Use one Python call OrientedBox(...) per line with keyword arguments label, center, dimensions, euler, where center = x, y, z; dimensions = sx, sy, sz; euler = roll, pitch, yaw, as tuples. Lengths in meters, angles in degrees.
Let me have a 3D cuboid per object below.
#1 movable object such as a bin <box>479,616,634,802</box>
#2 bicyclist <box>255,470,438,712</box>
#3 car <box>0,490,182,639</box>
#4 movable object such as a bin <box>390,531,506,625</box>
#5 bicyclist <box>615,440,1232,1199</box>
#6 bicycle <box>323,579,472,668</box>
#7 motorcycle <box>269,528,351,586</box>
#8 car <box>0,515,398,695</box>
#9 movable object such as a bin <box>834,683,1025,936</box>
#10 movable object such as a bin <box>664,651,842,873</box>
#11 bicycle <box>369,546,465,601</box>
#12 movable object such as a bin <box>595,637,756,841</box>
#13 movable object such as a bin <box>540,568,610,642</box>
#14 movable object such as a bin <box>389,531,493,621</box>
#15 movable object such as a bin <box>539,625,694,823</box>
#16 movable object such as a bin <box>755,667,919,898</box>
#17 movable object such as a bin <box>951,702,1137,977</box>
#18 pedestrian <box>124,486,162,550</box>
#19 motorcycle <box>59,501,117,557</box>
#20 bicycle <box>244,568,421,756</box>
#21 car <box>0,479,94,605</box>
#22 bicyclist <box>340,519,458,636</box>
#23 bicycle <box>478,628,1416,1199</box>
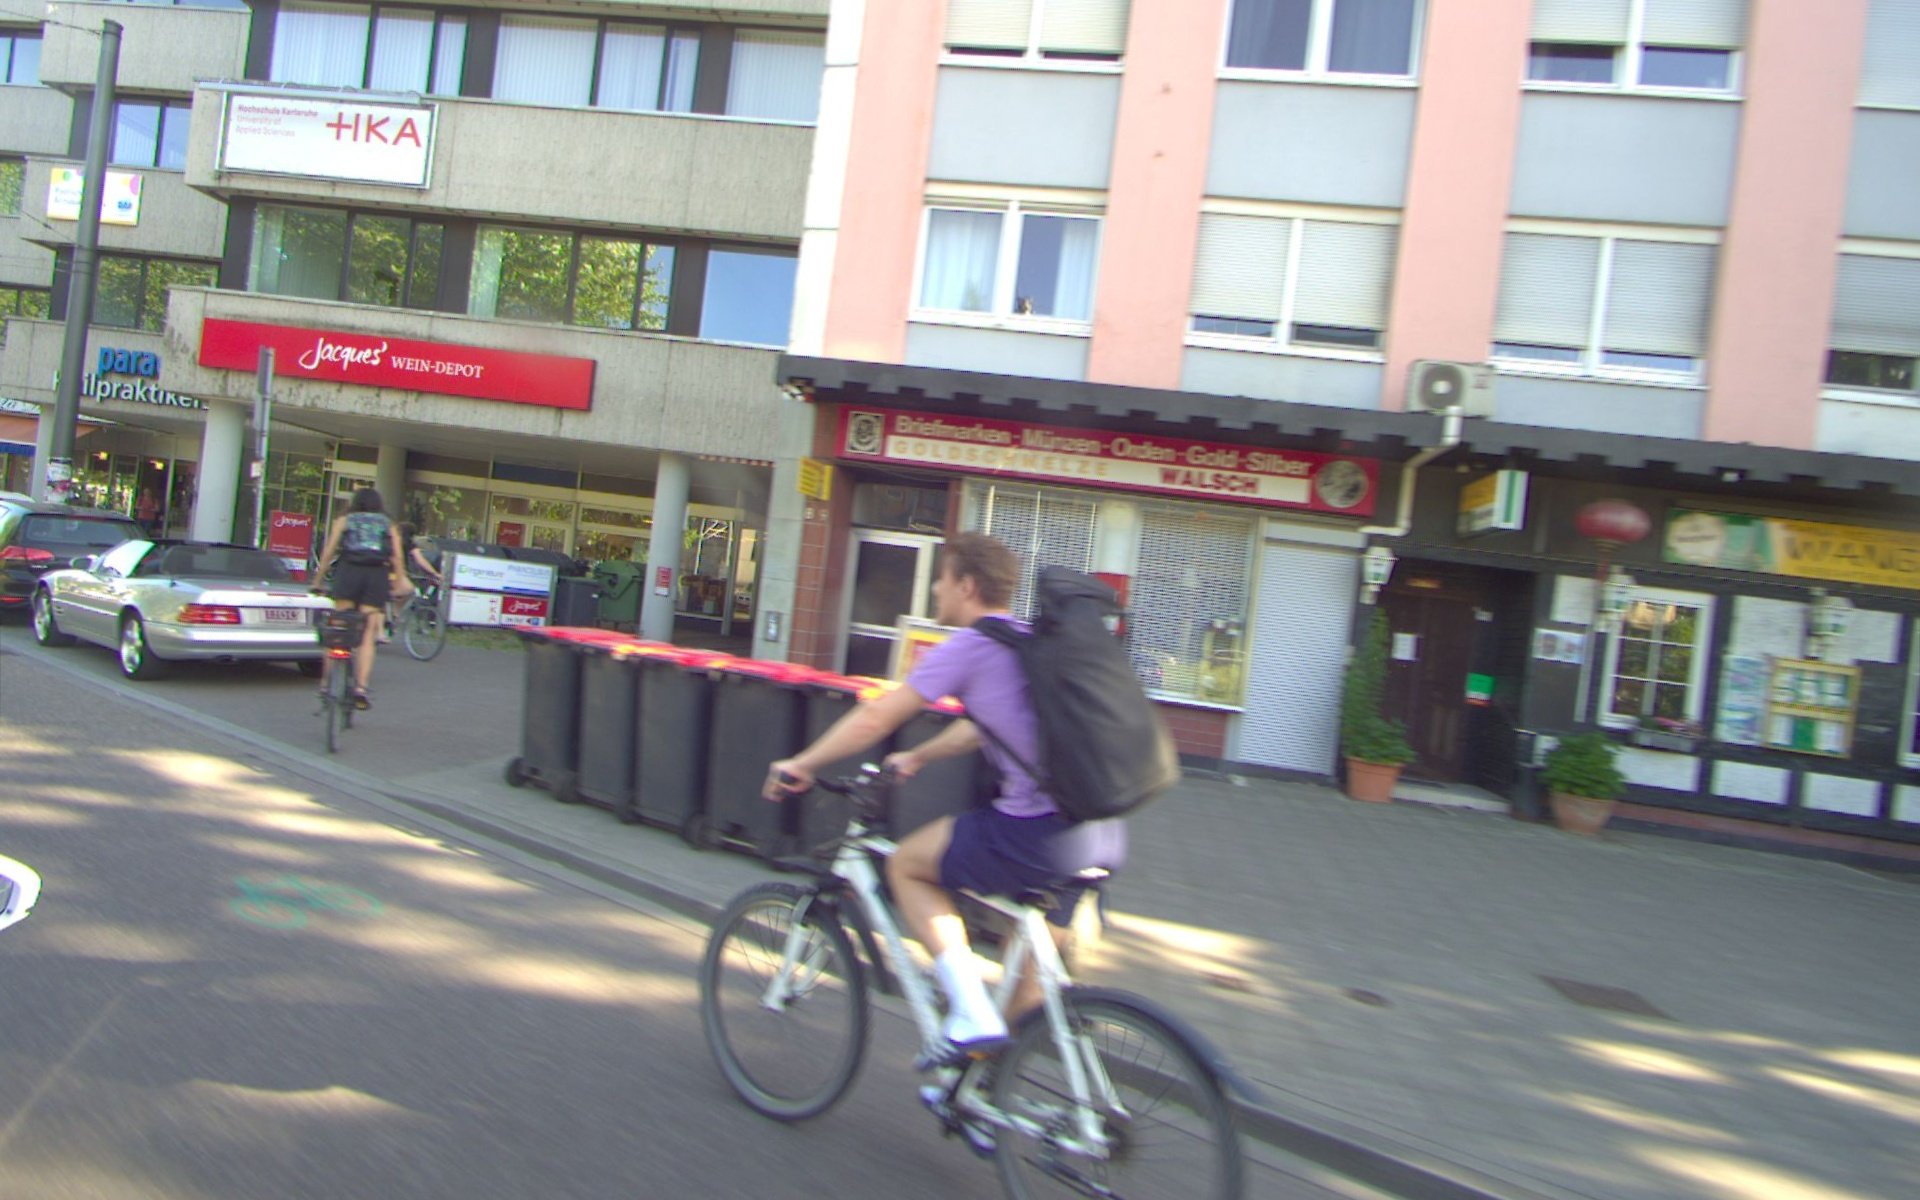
OrientedBox(label="movable object such as a bin", center=(-2.639, 0.702, 6.603), dimensions=(0.594, 1.096, 0.594), euler=(6, -2, 30))
OrientedBox(label="bicyclist", center=(-4.670, -0.047, 7.756), dimensions=(0.931, 1.652, 0.930), euler=(8, -2, -25))
OrientedBox(label="car", center=(-12.006, -0.521, 13.141), dimensions=(4.134, 1.536, 1.673), euler=(5, -3, 35))
OrientedBox(label="movable object such as a bin", center=(-8.898, -0.379, 17.507), dimensions=(1.105, 1.413, 1.335), euler=(5, -3, 40))
OrientedBox(label="bicyclist", center=(-0.038, 0.474, 2.528), dimensions=(0.973, 1.501, 1.039), euler=(6, -2, 34))
OrientedBox(label="bicycle", center=(-7.223, 0.286, 12.887), dimensions=(2.034, 0.902, 0.536), euler=(6, -2, 27))
OrientedBox(label="motorcycle", center=(-16.302, -1.091, 25.222), dimensions=(2.063, 1.181, 0.513), euler=(8, -1, 21))
OrientedBox(label="car", center=(-8.165, 0.007, 10.653), dimensions=(4.525, 1.359, 1.854), euler=(5, -3, 33))
OrientedBox(label="movable object such as a bin", center=(-0.140, 0.996, 4.995), dimensions=(0.600, 1.081, 0.620), euler=(6, -2, 29))
OrientedBox(label="movable object such as a bin", center=(-1.140, 0.874, 5.597), dimensions=(0.603, 1.081, 0.607), euler=(6, -2, 29))
OrientedBox(label="bicycle", center=(-12.733, -0.618, 23.652), dimensions=(1.834, 0.992, 0.678), euler=(9, -1, -23))
OrientedBox(label="movable object such as a bin", center=(-1.684, 0.808, 5.985), dimensions=(0.536, 1.081, 0.606), euler=(6, -2, 29))
OrientedBox(label="movable object such as a bin", center=(-6.575, 0.086, 17.172), dimensions=(0.712, 1.147, 0.743), euler=(5, -2, 39))
OrientedBox(label="movable object such as a bin", center=(-9.556, -0.431, 18.545), dimensions=(0.945, 1.449, 1.300), euler=(5, -3, 41))
OrientedBox(label="movable object such as a bin", center=(-2.142, 0.761, 6.303), dimensions=(0.517, 1.118, 0.611), euler=(6, -2, 29))
OrientedBox(label="movable object such as a bin", center=(-0.638, 0.932, 5.315), dimensions=(0.487, 1.081, 0.592), euler=(6, -2, 29))
OrientedBox(label="movable object such as a bin", center=(0.401, 1.063, 4.676), dimensions=(0.561, 1.095, 0.574), euler=(6, -2, 29))
OrientedBox(label="pedestrian", center=(-25.044, -2.509, 30.850), dimensions=(0.701, 1.836, 0.708), euler=(8, -2, -42))
OrientedBox(label="motorcycle", center=(-19.998, -1.631, 23.057), dimensions=(2.020, 1.170, 0.762), euler=(5, 1, 43))
OrientedBox(label="bicycle", center=(-4.723, 0.430, 7.728), dimensions=(0.812, 1.198, 1.953), euler=(8, -2, -26))
OrientedBox(label="car", center=(-15.396, -1.023, 15.580), dimensions=(3.804, 1.708, 1.855), euler=(5, -3, 33))
OrientedBox(label="bicyclist", center=(-7.172, -0.282, 12.870), dimensions=(0.977, 1.341, 0.760), euler=(6, -2, 27))
OrientedBox(label="bicycle", center=(-0.142, 0.780, 2.586), dimensions=(2.193, 1.149, 0.887), euler=(5, -2, 34))
